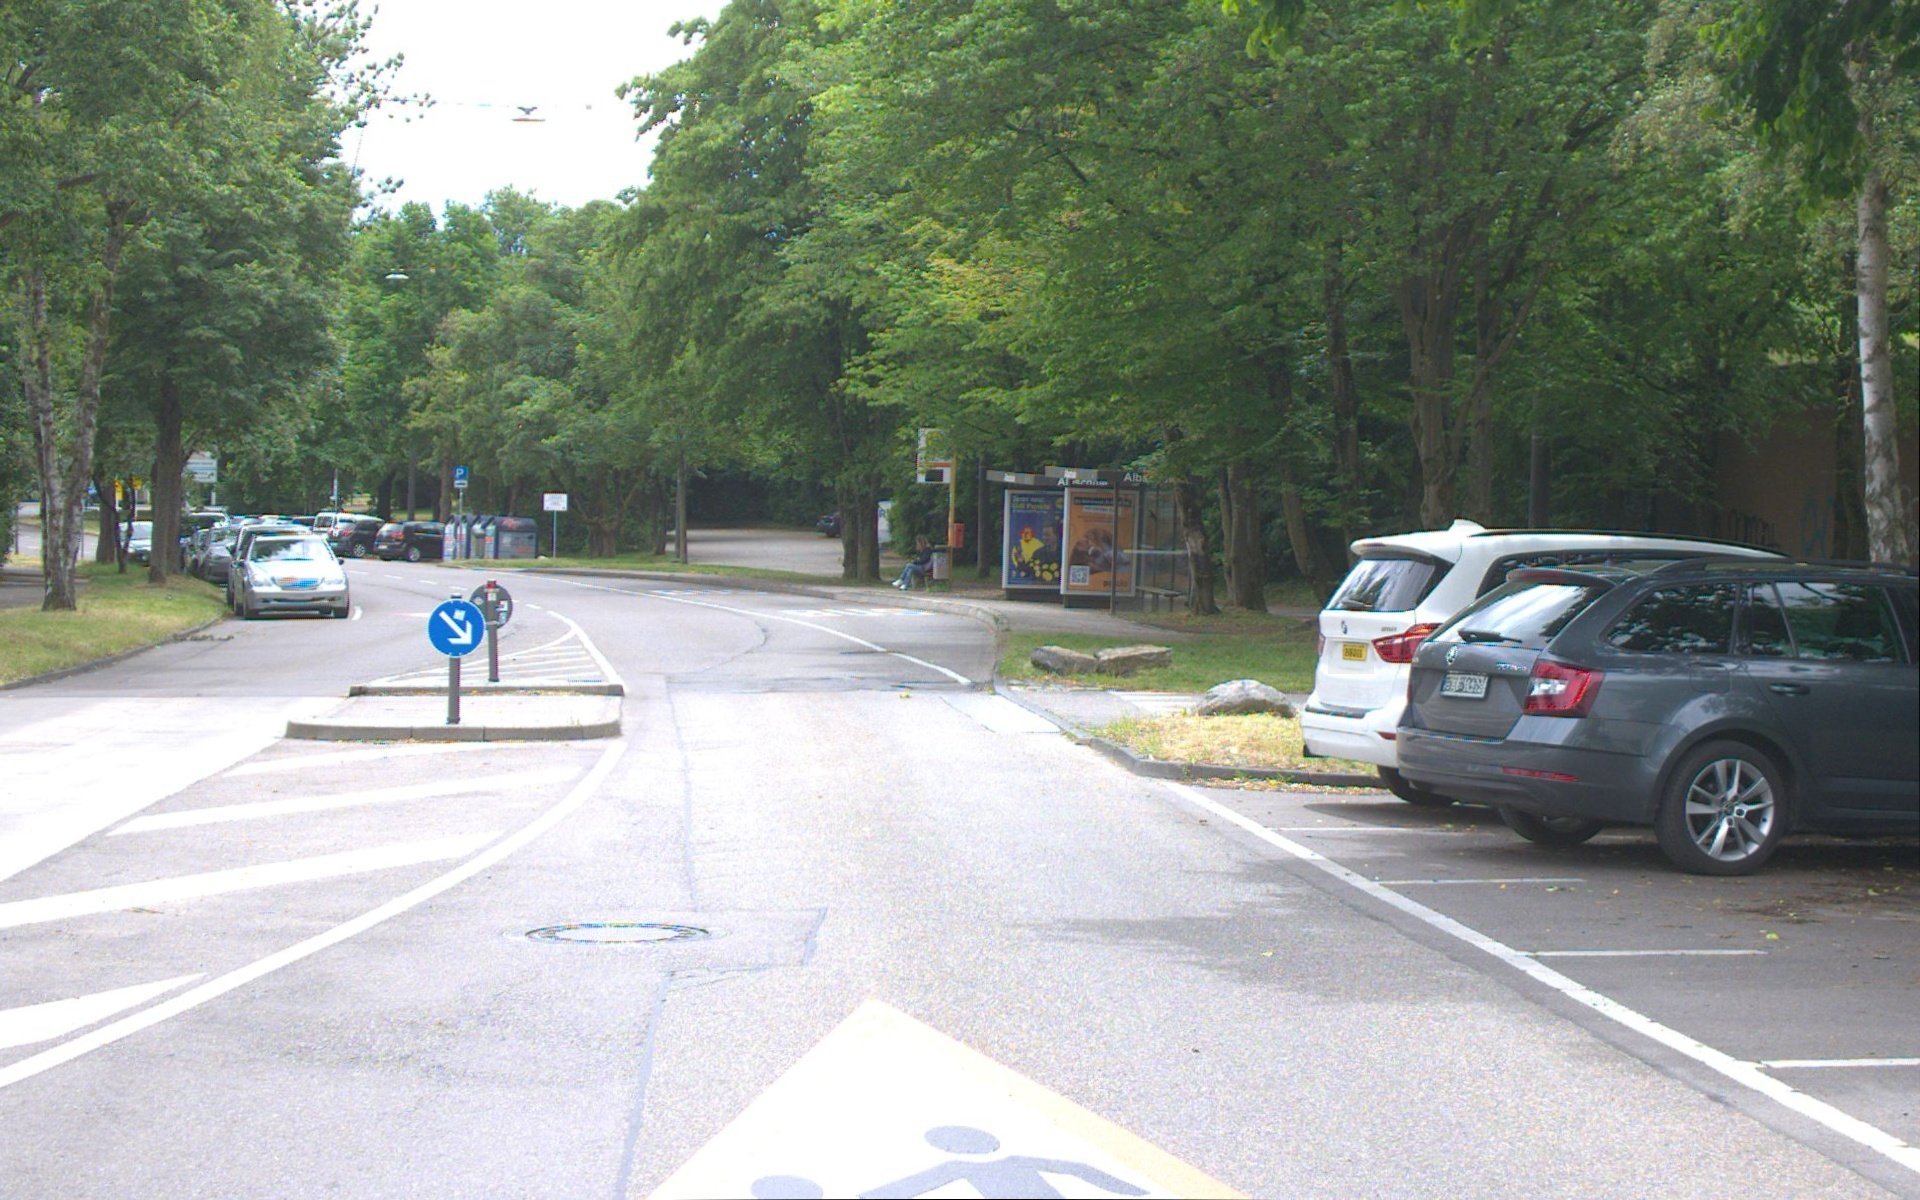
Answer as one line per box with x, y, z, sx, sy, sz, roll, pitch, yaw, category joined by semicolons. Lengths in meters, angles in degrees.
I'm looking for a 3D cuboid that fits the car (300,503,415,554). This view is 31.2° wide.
-22.934;-2.721;130.909;3.820;1.714;1.877;3;0;-43;car

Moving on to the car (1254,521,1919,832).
4.128;0.428;19.548;4.466;1.580;1.907;2;1;-13;car

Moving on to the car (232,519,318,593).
-15.297;-0.997;76.631;1.735;1.573;4.143;-1;2;-13;car

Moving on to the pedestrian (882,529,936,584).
-1.103;-0.950;74.280;1.063;1.178;0.580;0;1;-15;pedestrian

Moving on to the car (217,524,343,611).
-11.718;-0.591;59.071;1.735;1.411;4.474;-1;2;-16;car

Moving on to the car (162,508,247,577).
-21.417;-1.639;97.321;1.857;1.902;5.085;0;1;-18;car

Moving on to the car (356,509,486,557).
-18.908;-2.347;120.707;3.989;1.409;2.057;3;1;-43;car

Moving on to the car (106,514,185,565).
-26.739;-2.005;112.823;1.804;1.557;4.268;-3;3;-22;car

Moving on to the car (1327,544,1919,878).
4.092;0.543;16.856;4.131;1.459;1.799;2;1;-19;car

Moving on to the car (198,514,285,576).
-18.338;-1.413;87.683;1.865;1.532;4.228;0;1;-16;car
